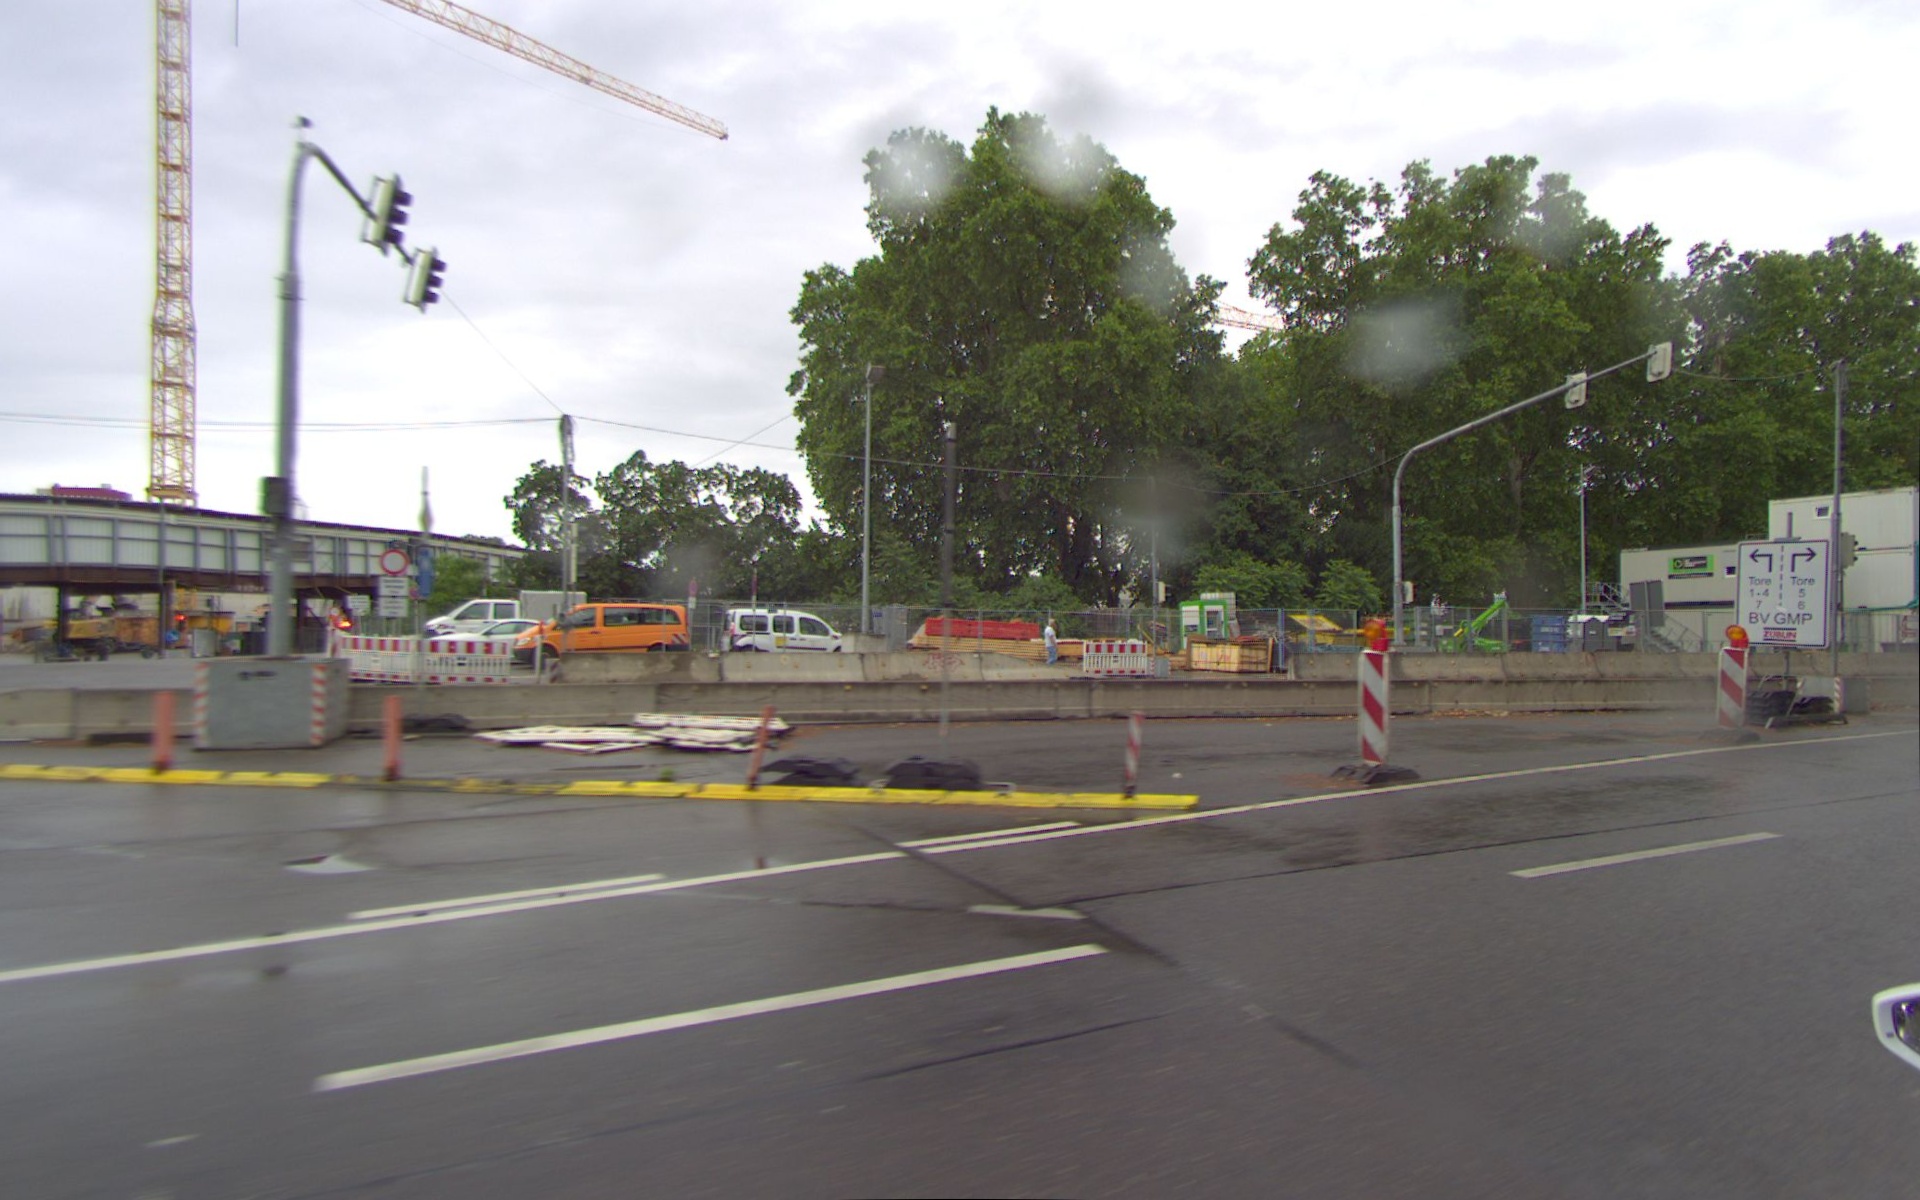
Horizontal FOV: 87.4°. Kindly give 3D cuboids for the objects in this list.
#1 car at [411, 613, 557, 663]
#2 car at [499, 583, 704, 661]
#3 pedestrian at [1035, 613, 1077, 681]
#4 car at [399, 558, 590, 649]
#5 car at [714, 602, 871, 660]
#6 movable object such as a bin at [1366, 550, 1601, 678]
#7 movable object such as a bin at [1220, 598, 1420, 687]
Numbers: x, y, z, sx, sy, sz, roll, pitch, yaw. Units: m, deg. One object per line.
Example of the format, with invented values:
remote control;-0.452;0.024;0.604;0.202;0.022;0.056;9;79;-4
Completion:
car;-14.568;1.171;30.828;3.797;1.433;1.745;2;-3;-36
car;-10.629;0.722;29.932;5.513;2.128;1.986;2;-4;-28
pedestrian;2.996;1.444;31.324;1.150;2.040;1.184;1;0;12
car;-16.838;0.232;36.584;6.088;3.106;2.266;1;-2;-26
car;-5.422;1.033;32.608;4.733;1.784;1.840;1;-2;-25
movable object such as a bin;21.910;0.698;42.164;8.245;4.866;4.737;1;-2;-25
movable object such as a bin;13.768;1.632;38.542;6.301;3.169;3.922;1;-2;-25
